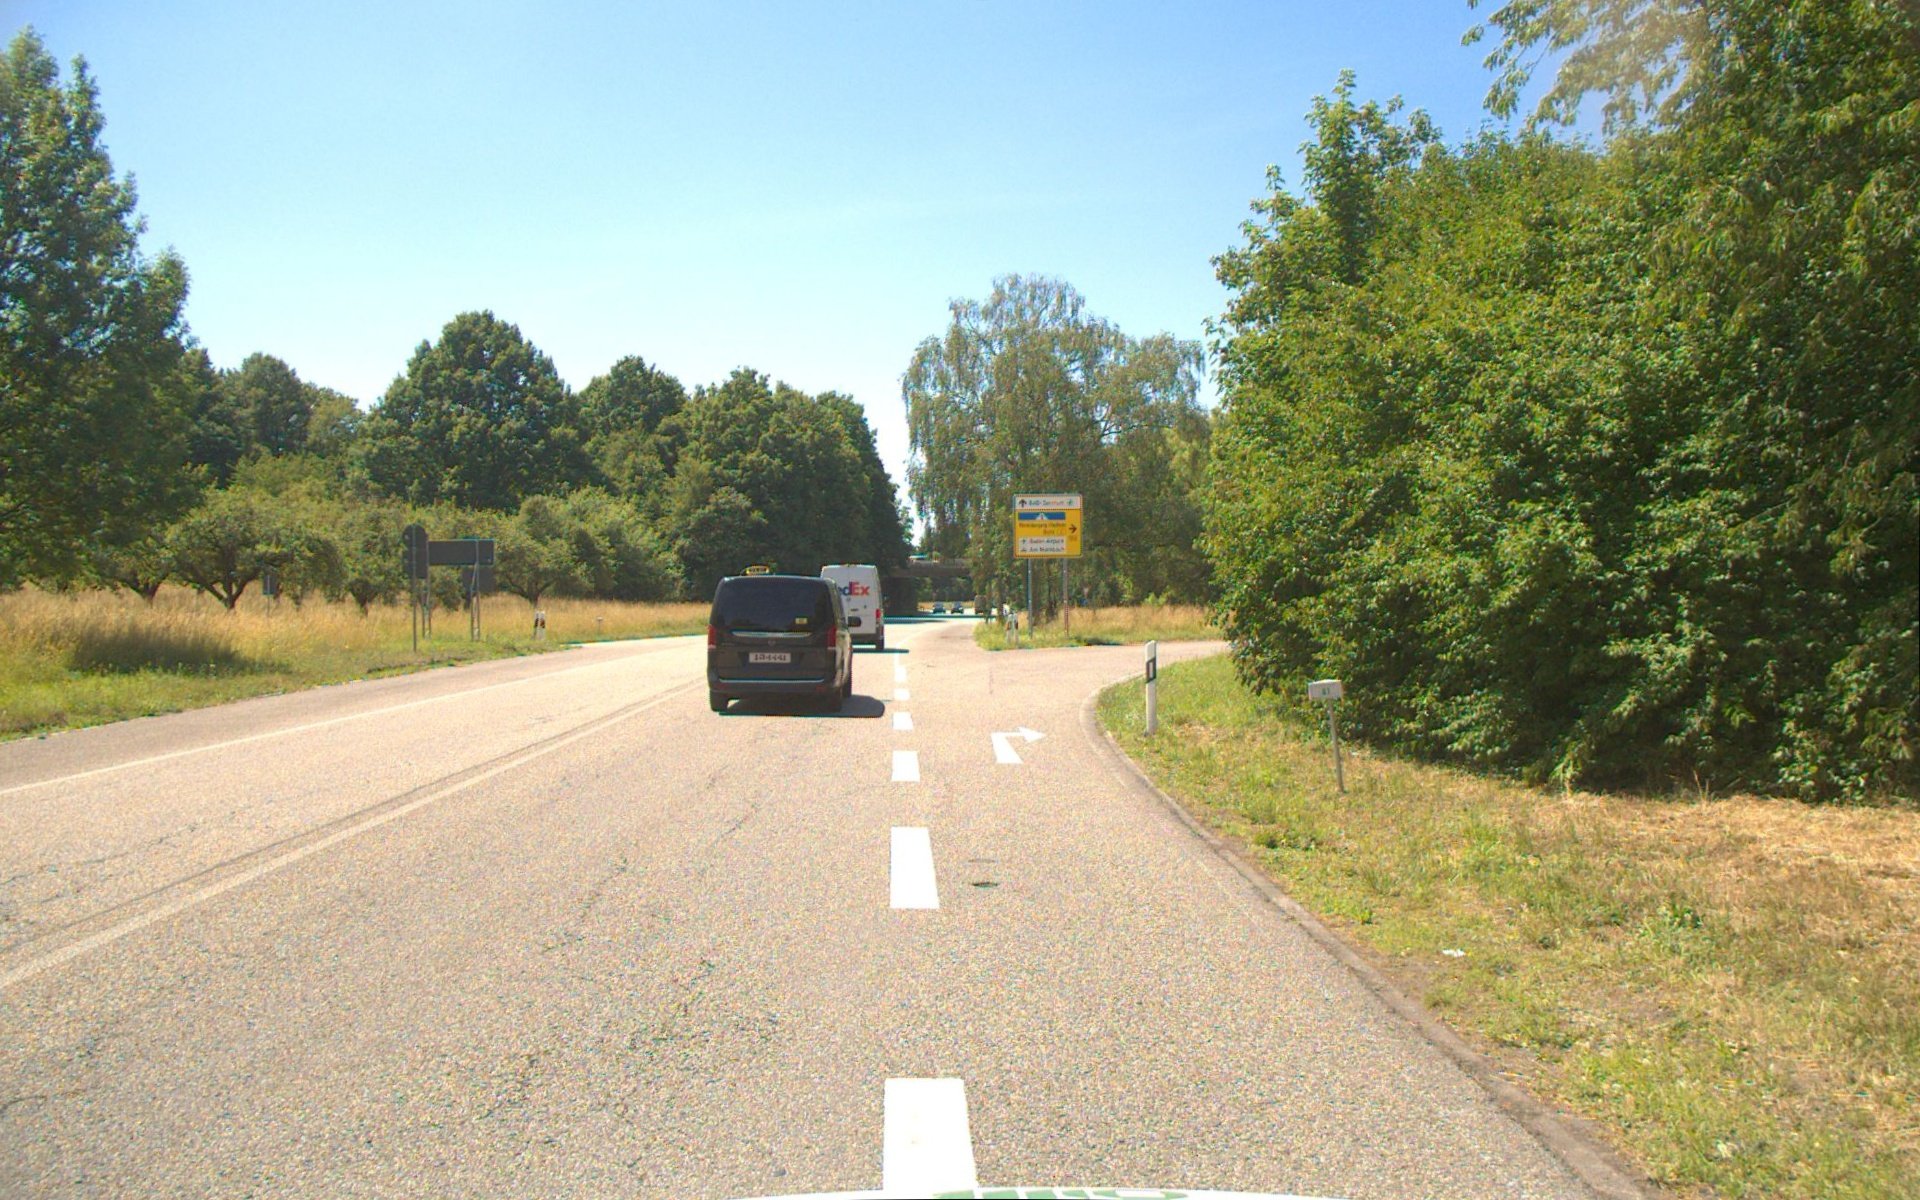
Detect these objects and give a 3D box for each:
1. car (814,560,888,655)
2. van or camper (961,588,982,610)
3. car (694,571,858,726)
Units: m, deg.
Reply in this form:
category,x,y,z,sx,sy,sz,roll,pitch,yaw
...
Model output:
category,x,y,z,sx,sy,sz,roll,pitch,yaw
car,-3.311,0.237,51.047,2.036,2.750,4.664,2,0,-2
van or camper,1.586,-0.110,228.941,2.579,2.980,5.203,1,-1,-3
car,-2.572,0.645,24.280,1.953,1.987,5.003,2,0,-2
